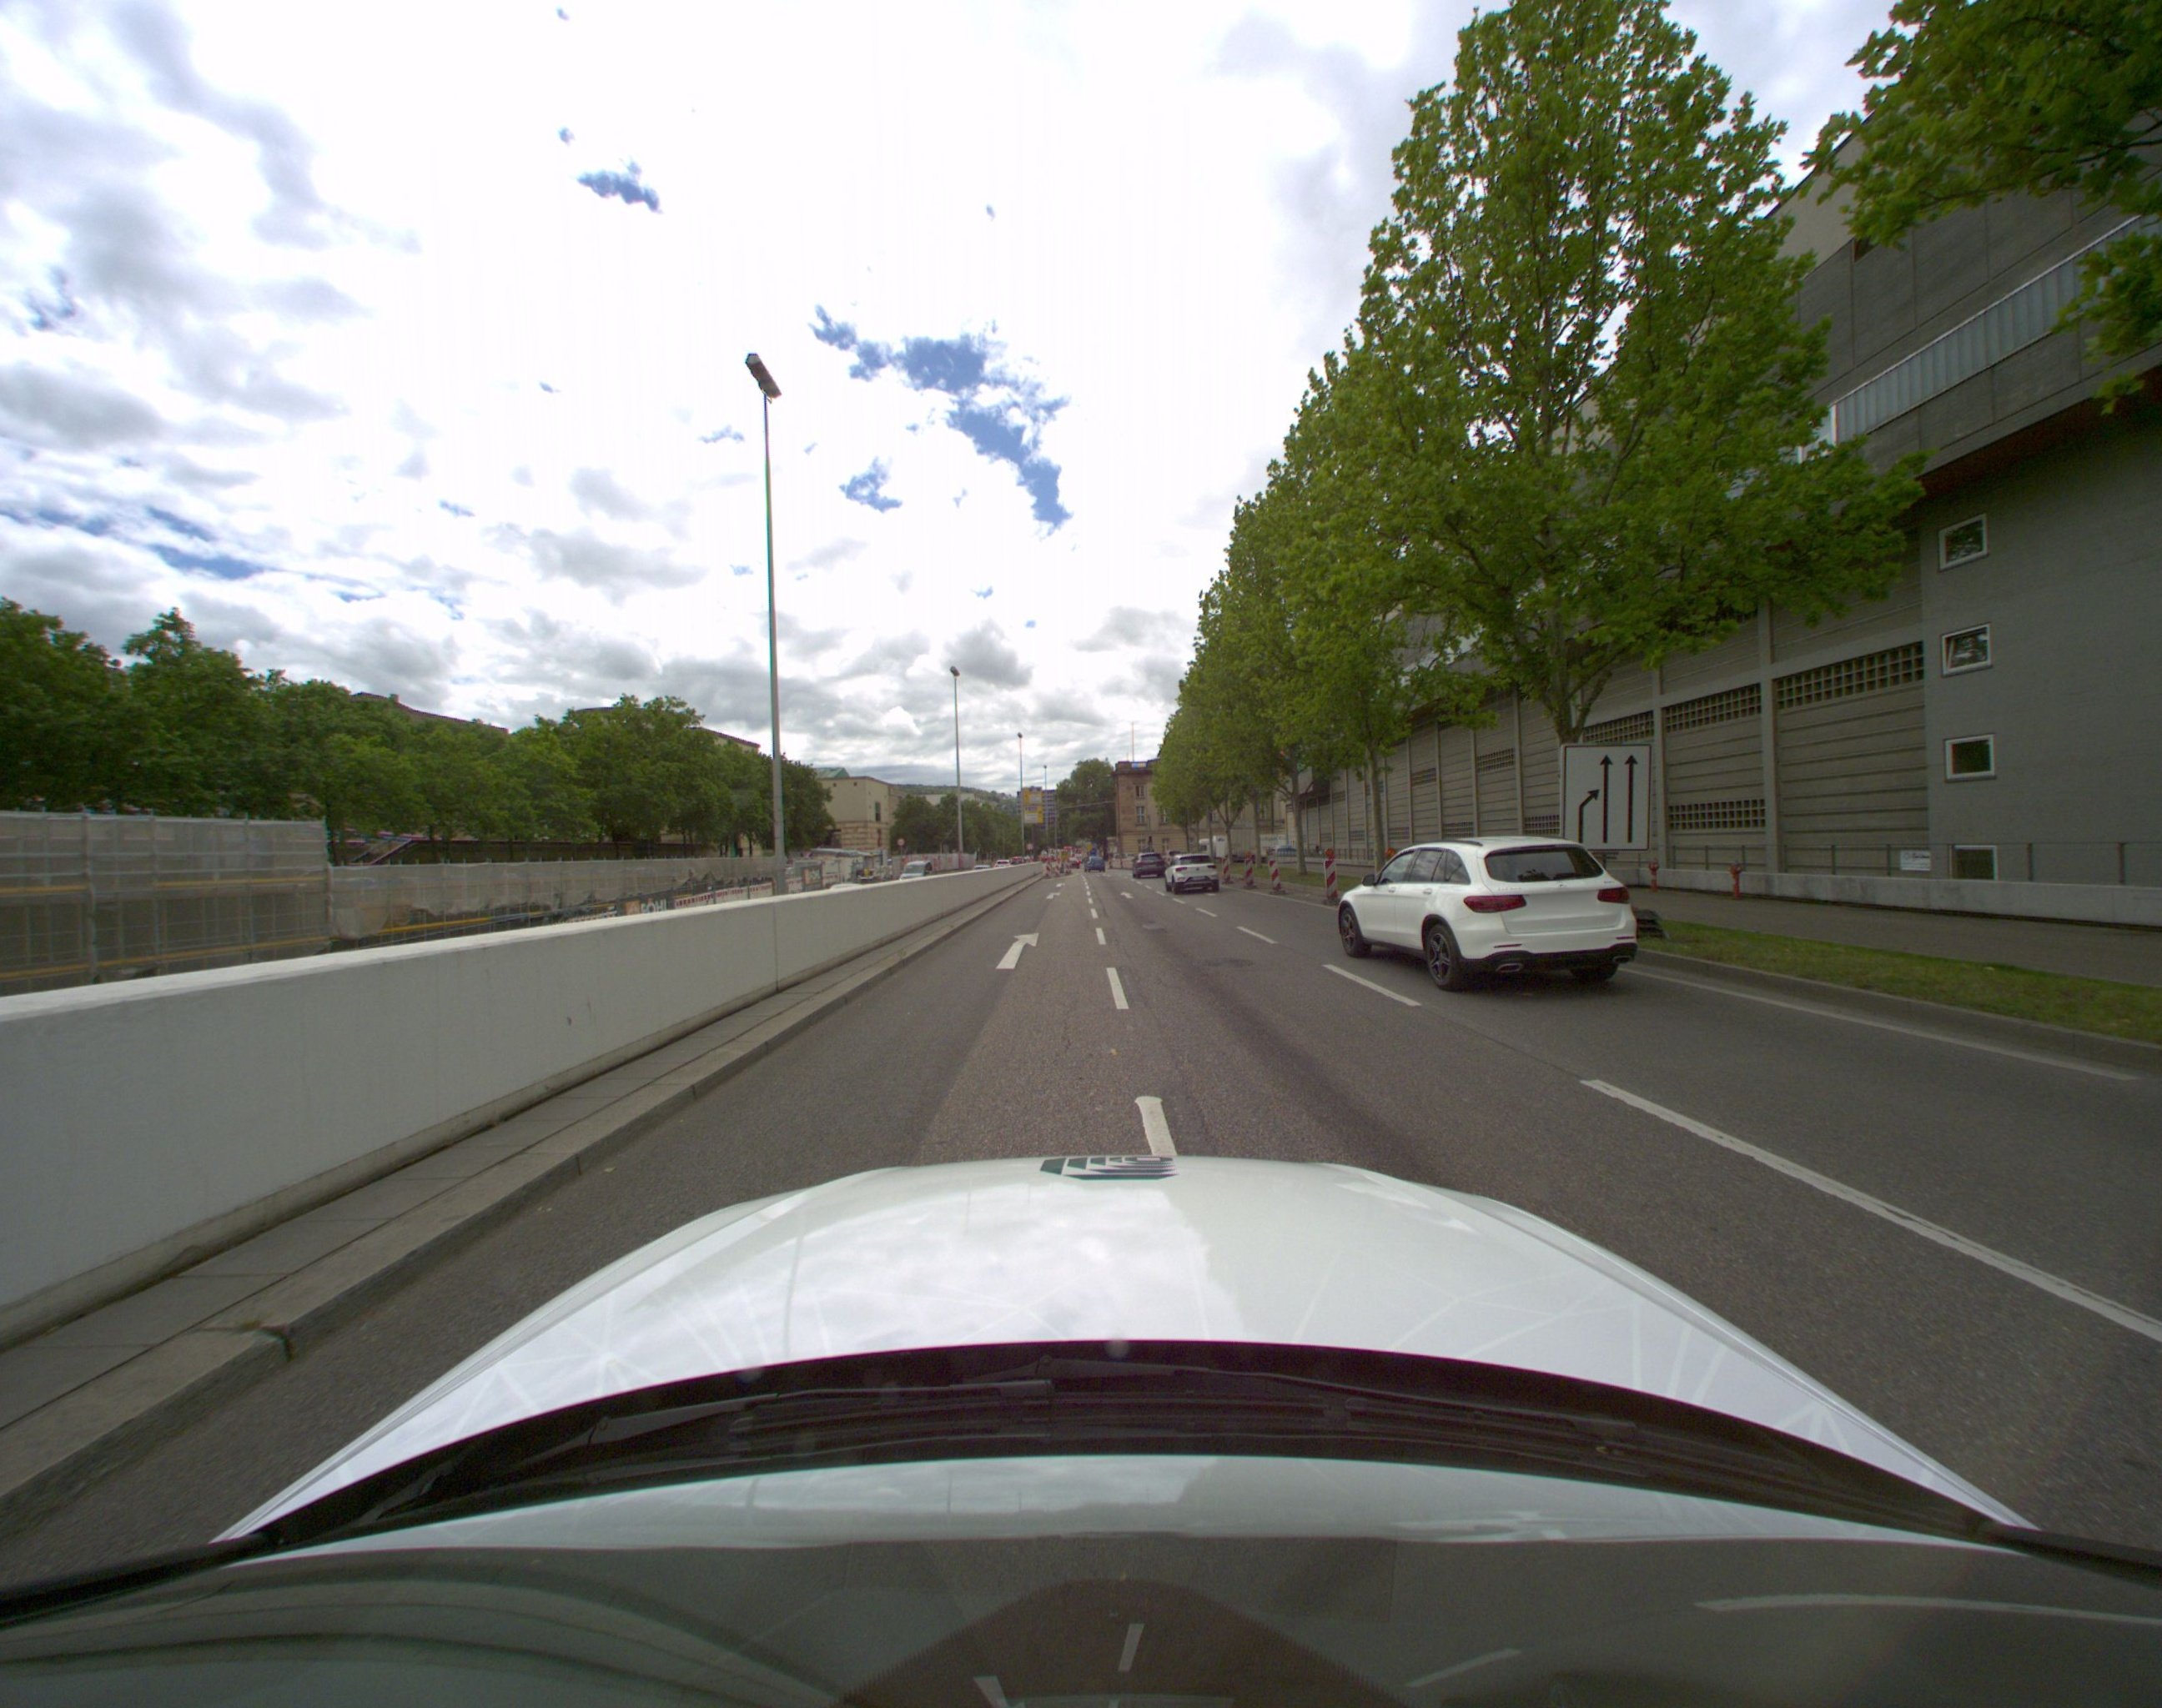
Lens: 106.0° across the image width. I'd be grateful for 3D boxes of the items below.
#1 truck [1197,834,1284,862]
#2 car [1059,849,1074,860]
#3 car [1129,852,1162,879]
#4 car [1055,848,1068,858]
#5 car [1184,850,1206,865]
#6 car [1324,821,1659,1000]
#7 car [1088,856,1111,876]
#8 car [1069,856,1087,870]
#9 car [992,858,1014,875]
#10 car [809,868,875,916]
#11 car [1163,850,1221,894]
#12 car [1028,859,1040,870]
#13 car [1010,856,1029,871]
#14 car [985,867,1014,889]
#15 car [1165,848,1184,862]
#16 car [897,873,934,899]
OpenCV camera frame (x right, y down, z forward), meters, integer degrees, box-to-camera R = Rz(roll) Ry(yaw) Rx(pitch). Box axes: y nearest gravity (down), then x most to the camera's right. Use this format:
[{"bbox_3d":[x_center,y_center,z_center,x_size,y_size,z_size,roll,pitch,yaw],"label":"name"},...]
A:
[{"bbox_3d":[19.380,-0.711,99.243,9.995,3.051,2.569,-2,-1,0],"label":"truck"},{"bbox_3d":[-3.238,0.013,184.099,2.570,2.374,5.533,-3,0,4],"label":"car"},{"bbox_3d":[4.255,0.735,54.066,1.817,1.567,4.481,-5,-1,1],"label":"car"},{"bbox_3d":[-4.843,-0.288,203.001,2.570,2.374,5.533,-3,0,4],"label":"car"},{"bbox_3d":[12.748,0.441,91.126,1.850,1.568,4.331,-2,-1,0],"label":"car"},{"bbox_3d":[4.708,0.535,10.253,1.806,1.642,4.550,-3,0,-1],"label":"car"},{"bbox_3d":[1.798,1.142,78.000,1.814,1.740,4.486,-3,0,5],"label":"car"},{"bbox_3d":[-0.370,1.129,104.019,1.815,1.740,4.486,0,0,5],"label":"car"},{"bbox_3d":[-7.513,1.184,78.475,1.744,1.568,3.378,-1,0,1],"label":"car"},{"bbox_3d":[-11.708,1.825,40.191,1.987,2.013,4.000,-2,2,0],"label":"car"},{"bbox_3d":[4.467,0.691,33.366,1.745,1.568,4.331,-4,-1,1],"label":"car"},{"bbox_3d":[-7.165,1.636,124.598,1.746,1.568,4.327,-2,0,-3],"label":"car"},{"bbox_3d":[-7.008,1.104,93.727,1.744,1.567,3.378,-5,0,1],"label":"car"},{"bbox_3d":[-6.517,1.905,65.508,1.744,1.568,4.332,-2,0,1],"label":"car"},{"bbox_3d":[10.494,0.128,91.657,1.745,1.568,4.331,-2,-1,0],"label":"car"},{"bbox_3d":[-11.706,2.255,57.800,1.744,1.567,3.378,-5,0,1],"label":"car"}]
